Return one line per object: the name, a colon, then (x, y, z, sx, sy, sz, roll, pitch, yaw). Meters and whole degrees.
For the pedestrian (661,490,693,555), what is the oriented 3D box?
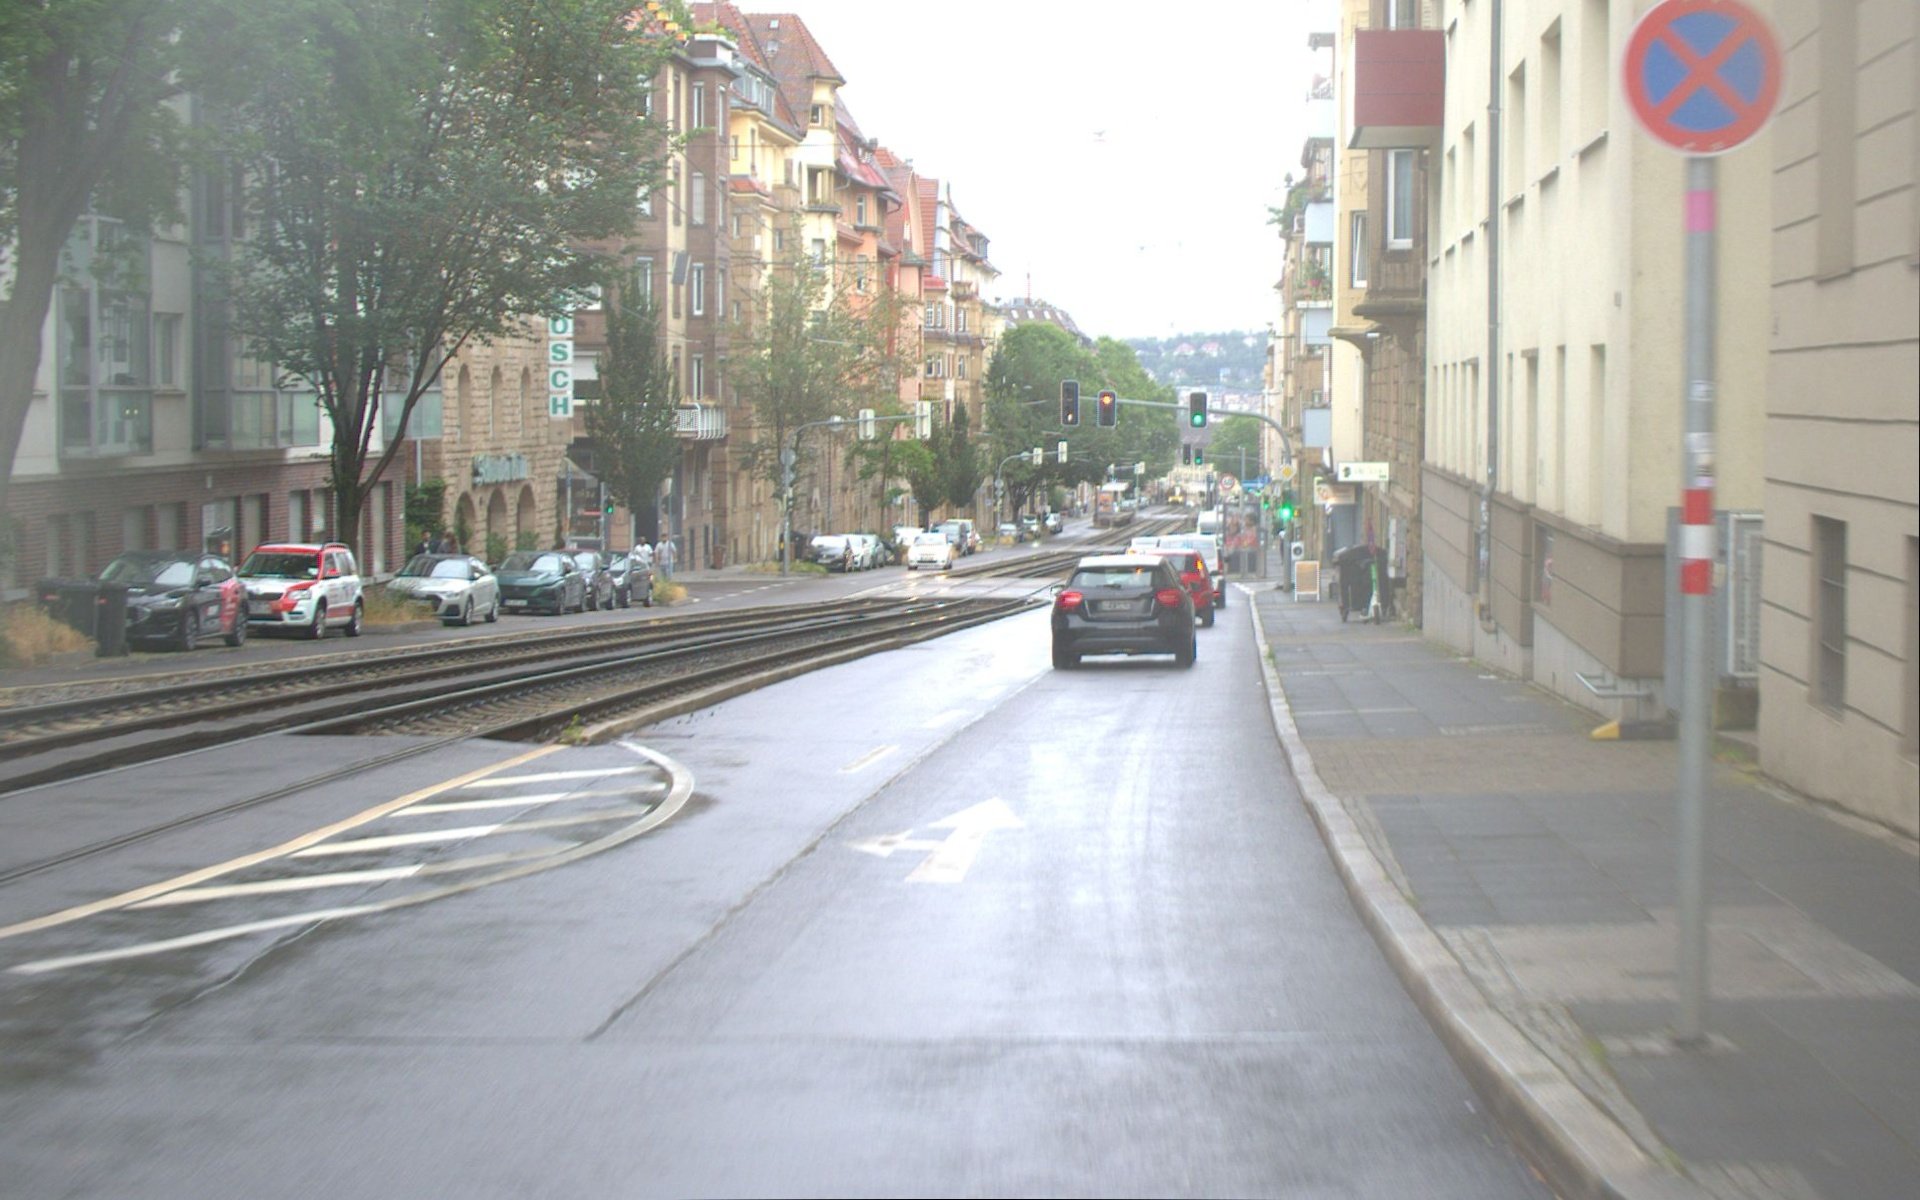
pedestrian: (-8.869, -2.425, 107.829, 0.872, 2.007, 0.704, -2, 0, 3)

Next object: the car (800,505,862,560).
car: (-5.029, -2.620, 134.656, 1.994, 2.007, 4.346, -2, 0, 3)

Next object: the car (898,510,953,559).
car: (-1.411, -2.745, 143.119, 1.994, 2.007, 4.346, 0, 1, 3)

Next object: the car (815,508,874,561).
car: (-4.665, -2.646, 139.687, 1.994, 2.007, 4.346, -2, 0, 3)

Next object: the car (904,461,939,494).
car: (-2.427, -7.739, 217.486, 1.994, 2.007, 4.000, 0, 1, 3)

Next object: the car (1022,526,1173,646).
car: (1.795, -0.216, 44.429, 1.852, 1.468, 4.000, 0, 1, 3)

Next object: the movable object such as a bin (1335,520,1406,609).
movable object such as a bin: (7.820, -0.688, 65.556, 1.168, 1.649, 1.309, -2, 1, 1)

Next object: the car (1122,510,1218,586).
car: (4.198, -1.037, 69.274, 1.852, 1.468, 4.000, 0, 0, 3)

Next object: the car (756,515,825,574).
car: (-6.125, -1.989, 124.690, 1.994, 2.007, 4.346, -2, 0, 3)

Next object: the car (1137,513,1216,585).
car: (5.581, -1.309, 88.847, 1.949, 1.787, 4.144, 0, 0, 3)

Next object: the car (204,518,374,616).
car: (-11.390, -0.579, 58.619, 1.773, 1.541, 4.255, -2, 1, 4)

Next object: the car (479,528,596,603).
car: (-9.625, -0.802, 78.662, 1.773, 1.614, 4.255, -2, 1, 5)

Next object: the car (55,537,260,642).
car: (-11.941, -0.171, 51.398, 1.773, 1.448, 4.255, -2, 0, 4)

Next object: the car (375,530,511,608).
car: (-10.489, -0.629, 70.020, 1.773, 1.483, 4.254, -2, 0, 5)

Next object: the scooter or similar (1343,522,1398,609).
scooter or similar: (7.650, -0.650, 64.056, 0.918, 1.599, 0.862, 0, 1, 0)

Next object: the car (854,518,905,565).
car: (-3.685, -2.674, 158.139, 1.994, 2.007, 4.346, -2, 0, 3)
